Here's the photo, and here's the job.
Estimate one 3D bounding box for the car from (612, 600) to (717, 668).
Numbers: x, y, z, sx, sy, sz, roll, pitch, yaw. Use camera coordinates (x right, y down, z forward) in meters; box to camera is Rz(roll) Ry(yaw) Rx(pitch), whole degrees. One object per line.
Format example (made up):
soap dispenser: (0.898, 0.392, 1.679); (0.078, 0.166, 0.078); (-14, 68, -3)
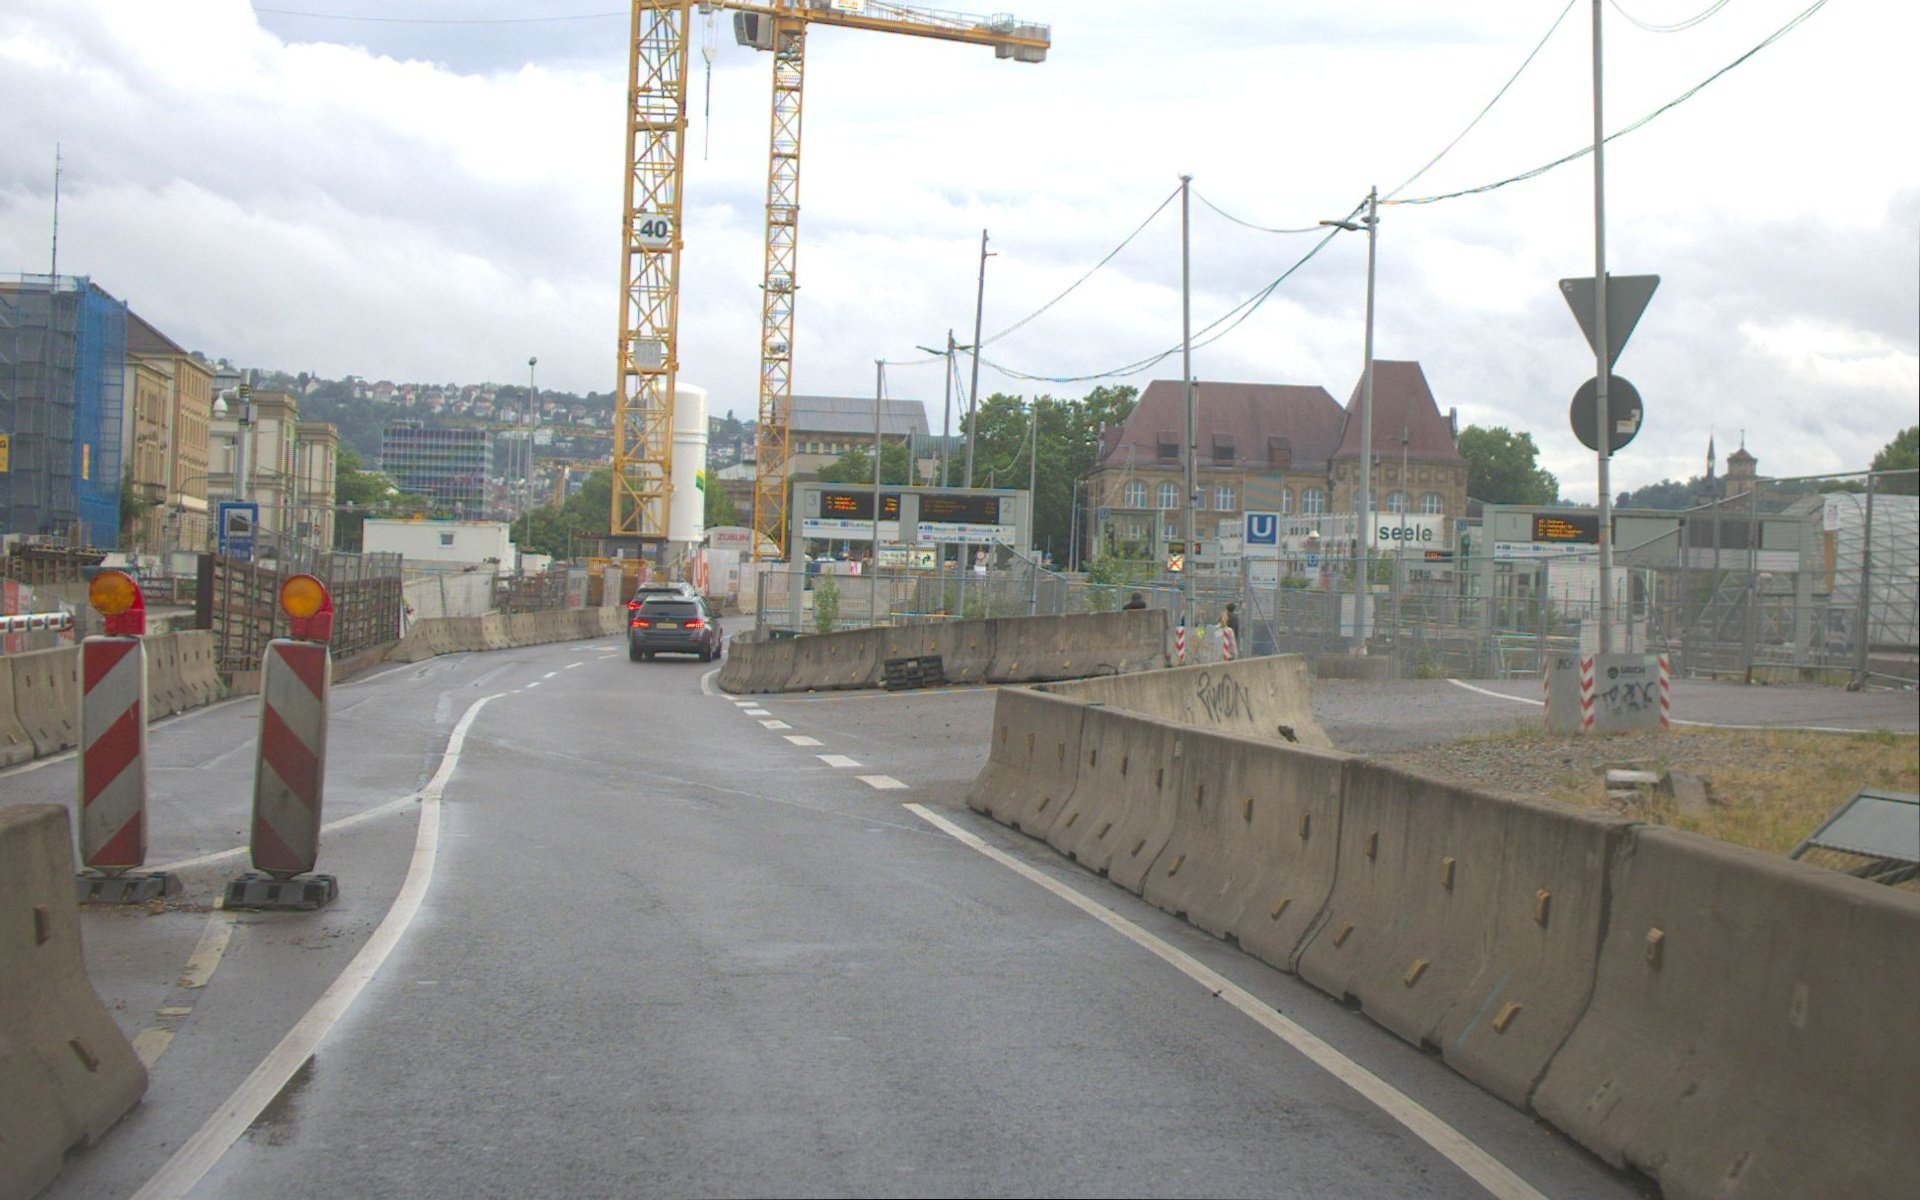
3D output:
car: (-6.626, 0.768, 77.388); (1.863, 1.428, 4.656); (2, -1, 1)

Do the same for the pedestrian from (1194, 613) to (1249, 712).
pedestrian: (4.776, 1.138, 62.840); (0.689, 1.772, 0.815); (2, -1, -22)

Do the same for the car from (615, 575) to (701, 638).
car: (-8.561, 0.185, 97.832); (1.863, 1.655, 4.656); (3, 0, 1)

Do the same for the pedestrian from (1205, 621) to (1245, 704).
pedestrian: (5.752, 1.355, 74.642); (0.689, 1.772, 1.023); (1, -1, -4)

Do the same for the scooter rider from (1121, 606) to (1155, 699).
scooter rider: (3.398, 0.991, 65.587); (0.521, 1.749, 0.699); (1, 0, 12)
